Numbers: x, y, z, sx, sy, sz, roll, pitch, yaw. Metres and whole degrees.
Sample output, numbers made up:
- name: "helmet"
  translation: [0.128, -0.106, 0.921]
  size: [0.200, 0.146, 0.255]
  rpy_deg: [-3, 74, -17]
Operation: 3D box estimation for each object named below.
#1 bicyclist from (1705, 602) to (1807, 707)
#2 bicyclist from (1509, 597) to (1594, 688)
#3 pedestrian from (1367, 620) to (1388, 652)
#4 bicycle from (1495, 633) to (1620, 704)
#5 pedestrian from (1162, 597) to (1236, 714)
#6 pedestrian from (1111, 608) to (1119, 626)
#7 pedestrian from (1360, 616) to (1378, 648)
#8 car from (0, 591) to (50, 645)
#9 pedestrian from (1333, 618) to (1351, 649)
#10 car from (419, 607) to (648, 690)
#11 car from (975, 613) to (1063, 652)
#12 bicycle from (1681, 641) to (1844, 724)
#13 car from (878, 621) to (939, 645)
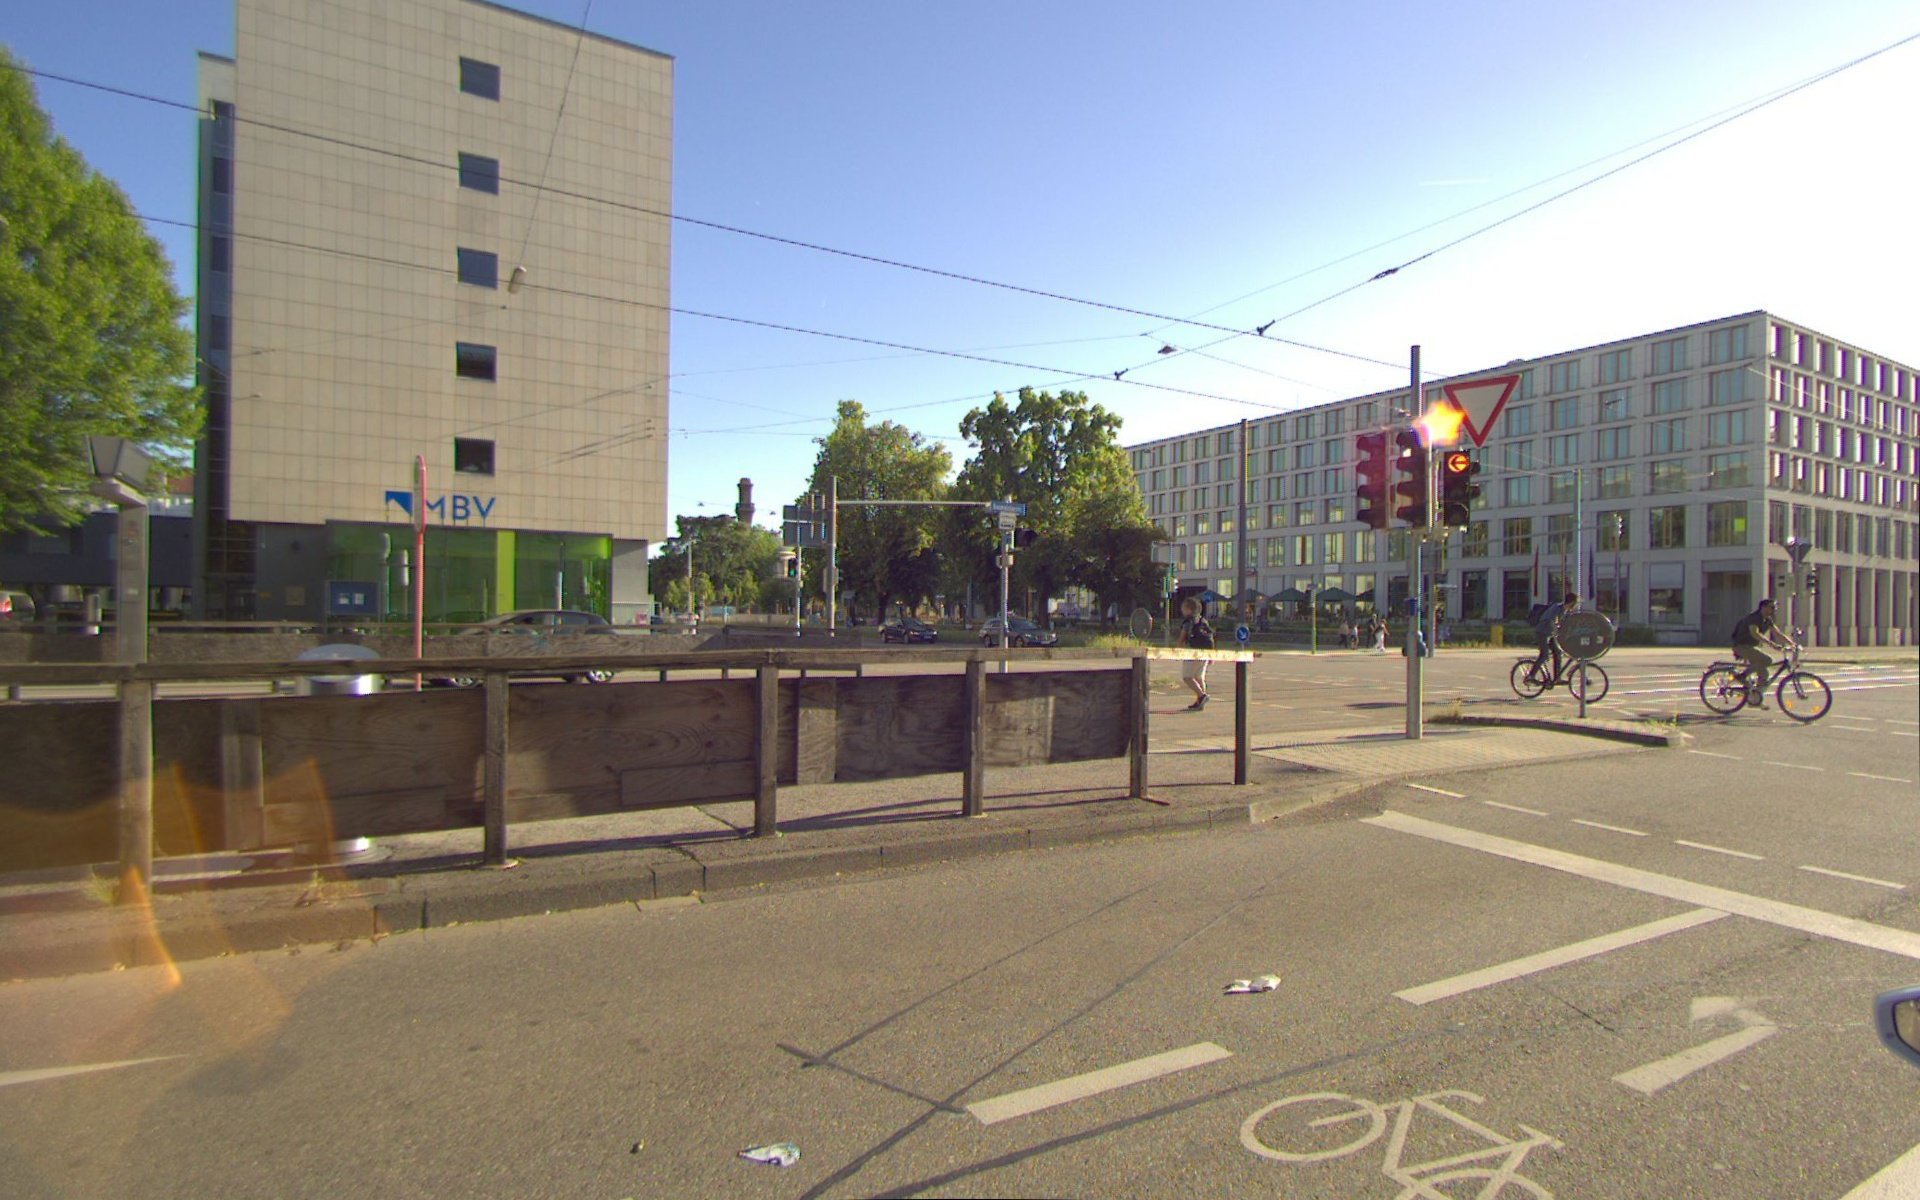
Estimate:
- name: "bicyclist"
  translation: [12.183, 0.808, 15.388]
  size: [0.756, 1.532, 0.999]
  rpy_deg: [-1, 1, -26]
- name: "bicyclist"
  translation: [10.883, 0.756, 18.501]
  size: [0.756, 1.616, 1.120]
  rpy_deg: [0, 0, -27]
- name: "pedestrian"
  translation: [21.802, 1.859, 52.490]
  size: [0.615, 1.666, 0.787]
  rpy_deg: [1, -1, -34]
- name: "bicycle"
  translation: [10.917, 1.221, 18.432]
  size: [0.756, 1.174, 1.866]
  rpy_deg: [0, 0, -27]
- name: "pedestrian"
  translation: [3.687, 0.832, 15.481]
  size: [0.819, 1.739, 0.753]
  rpy_deg: [1, -1, -34]
- name: "pedestrian"
  translation: [15.211, 1.650, 98.701]
  size: [0.556, 1.691, 0.537]
  rpy_deg: [2, 0, -33]
- name: "pedestrian"
  translation: [22.046, 1.726, 54.143]
  size: [0.615, 1.666, 0.690]
  rpy_deg: [1, -1, -34]
- name: "car"
  translation: [-27.721, 0.455, 27.796]
  size: [3.371, 1.431, 1.562]
  rpy_deg: [2, 0, -20]
- name: "pedestrian"
  translation: [20.659, 1.824, 54.333]
  size: [0.612, 1.666, 0.692]
  rpy_deg: [1, -1, -23]
- name: "car"
  translation: [-8.525, 0.936, 20.218]
  size: [3.963, 1.508, 1.631]
  rpy_deg: [2, -1, -37]
- name: "car"
  translation: [2.742, 1.507, 47.785]
  size: [1.833, 1.602, 4.486]
  rpy_deg: [1, 1, -34]
- name: "bicycle"
  translation: [12.210, 1.218, 15.340]
  size: [0.756, 1.100, 1.807]
  rpy_deg: [-1, 1, -26]
- name: "car"
  translation: [-2.968, 1.876, 57.314]
  size: [1.755, 1.311, 4.209]
  rpy_deg: [1, -1, -30]
